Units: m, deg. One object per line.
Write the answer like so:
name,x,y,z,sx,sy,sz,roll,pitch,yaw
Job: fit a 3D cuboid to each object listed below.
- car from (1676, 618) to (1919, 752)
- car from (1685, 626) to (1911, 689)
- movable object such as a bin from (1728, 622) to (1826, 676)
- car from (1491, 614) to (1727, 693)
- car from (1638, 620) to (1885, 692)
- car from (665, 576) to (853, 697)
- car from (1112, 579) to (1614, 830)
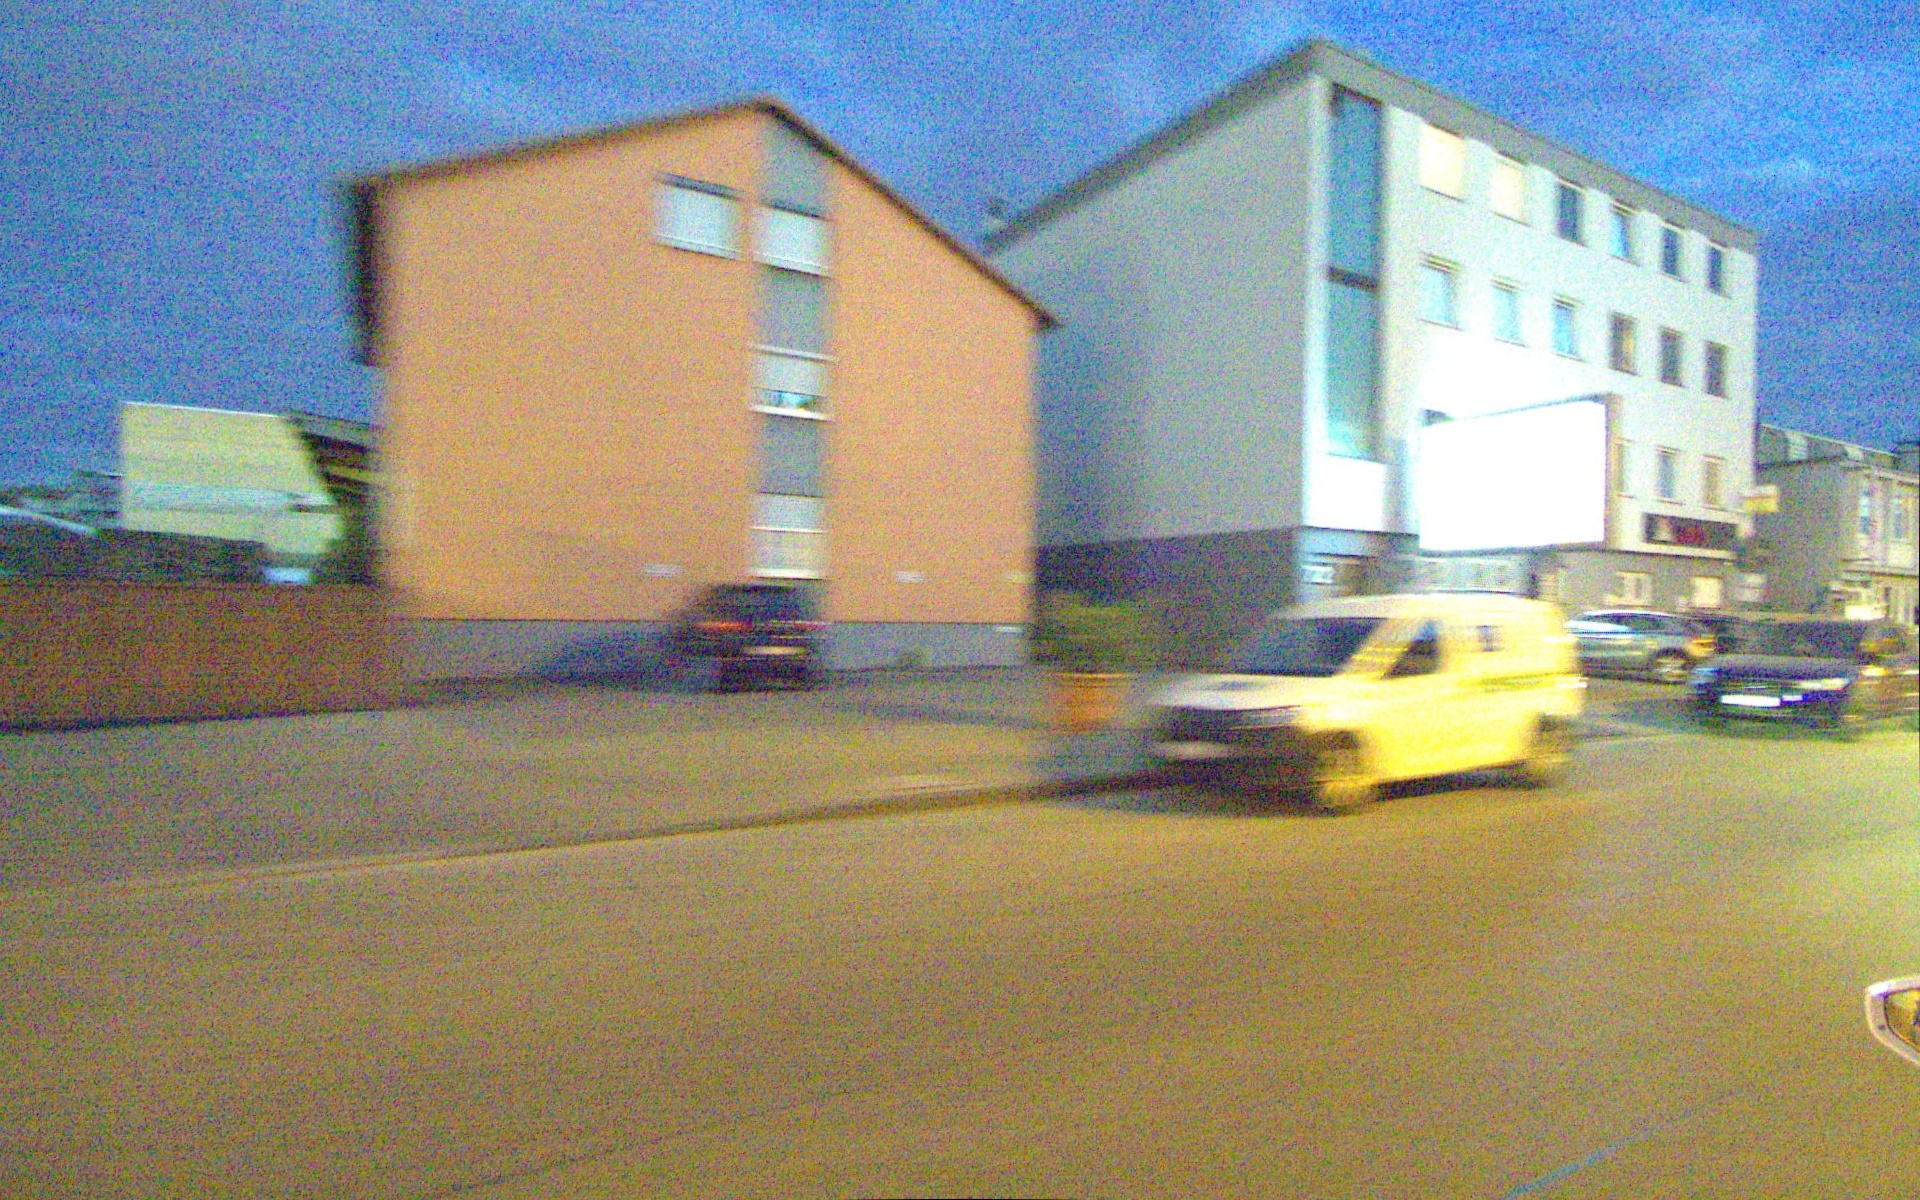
car,12.936,1.159,14.998,4.761,1.711,1.937,2,-1,-31
car,21.913,1.474,26.523,4.338,1.459,1.789,0,-1,32
movable object such as a bin,24.651,1.462,30.330,1.590,1.520,1.849,2,-1,-29
car,14.645,1.158,22.814,4.343,1.580,1.993,0,-1,36
car,19.733,1.341,25.049,4.590,1.571,1.996,0,-1,32
car,-3.424,0.547,16.390,1.897,1.675,4.384,1,-1,-27
car,3.856,0.819,9.313,4.822,1.822,1.795,2,-1,-31
